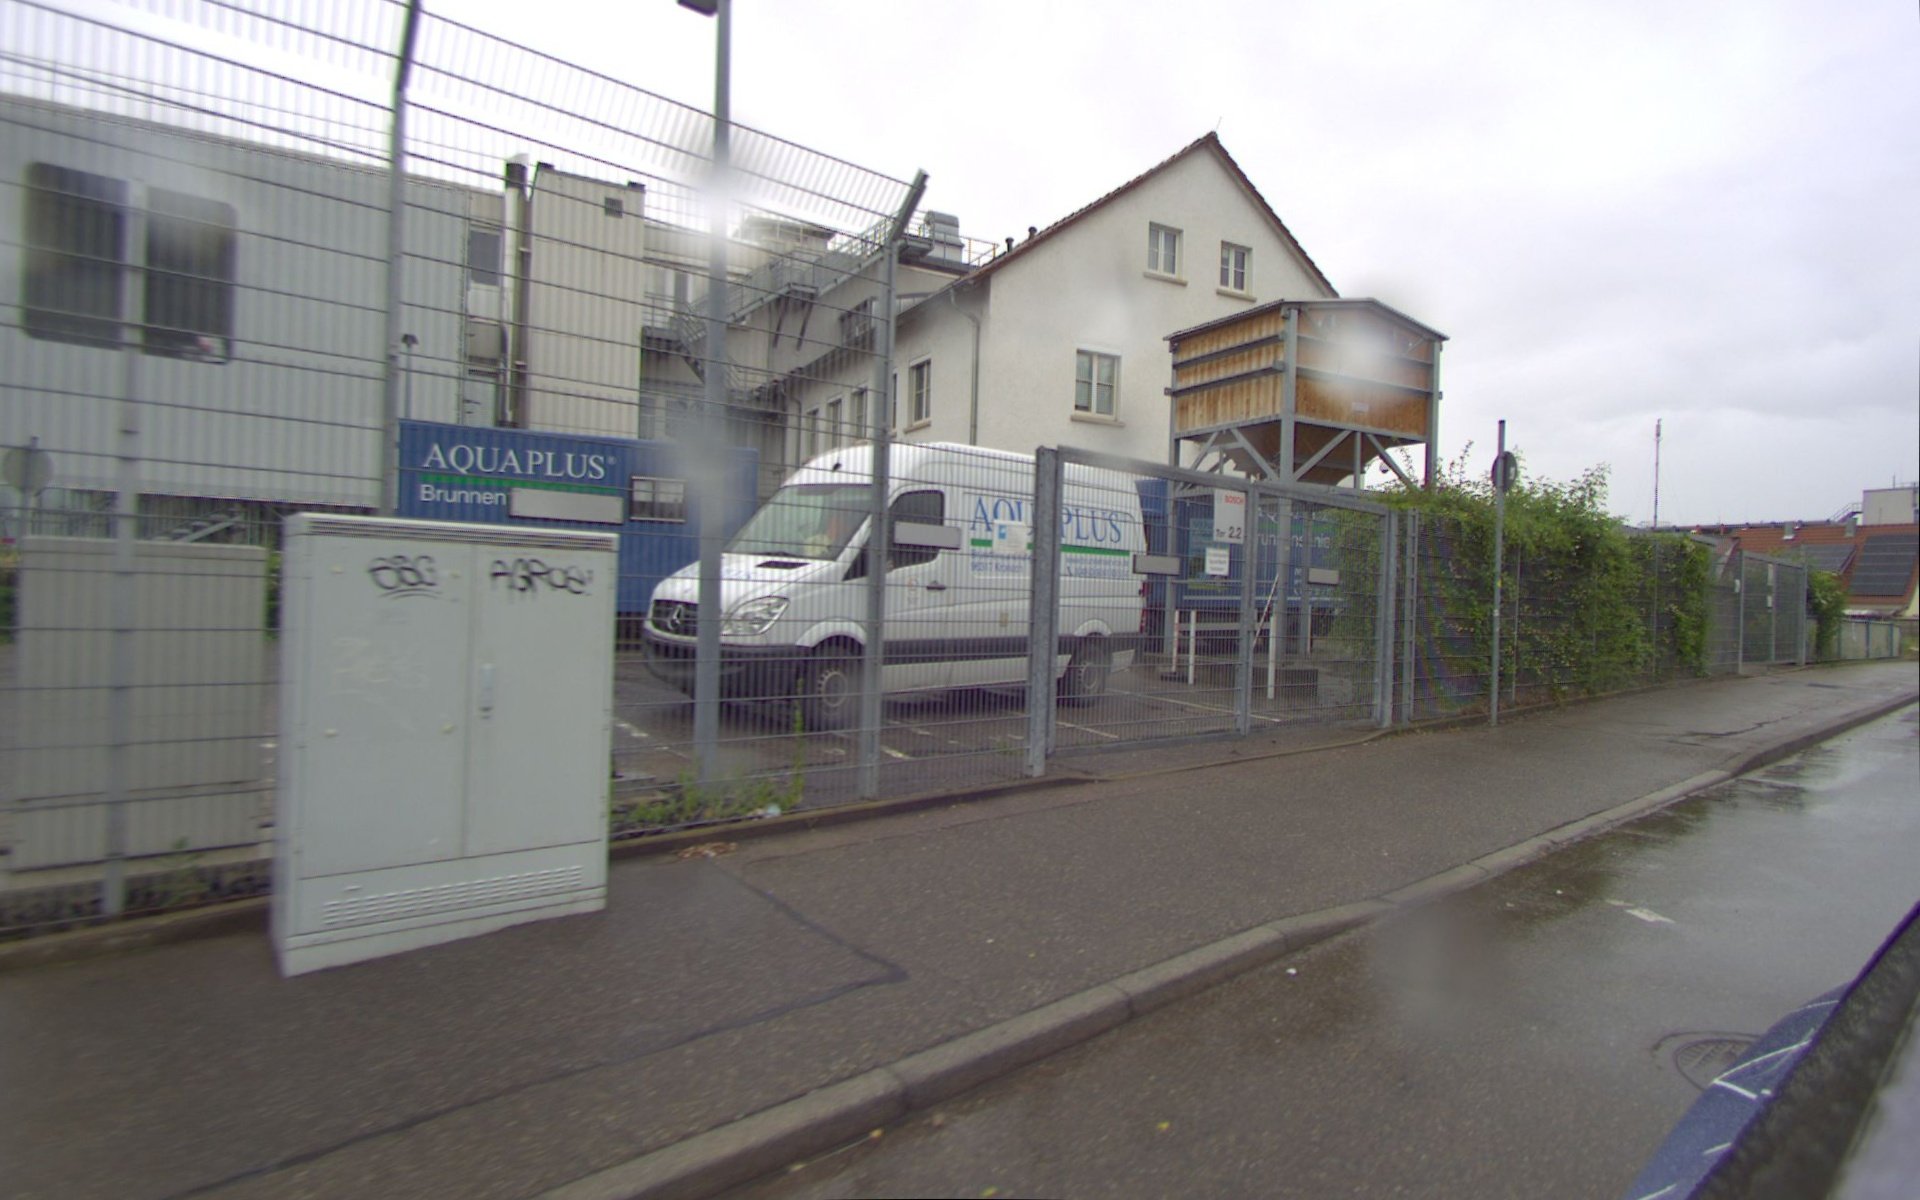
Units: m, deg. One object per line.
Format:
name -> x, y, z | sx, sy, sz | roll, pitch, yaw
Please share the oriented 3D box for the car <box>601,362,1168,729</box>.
car -> -0.366, -0.395, 10.311 | 1.994, 2.717, 5.858 | 4, 1, 43
